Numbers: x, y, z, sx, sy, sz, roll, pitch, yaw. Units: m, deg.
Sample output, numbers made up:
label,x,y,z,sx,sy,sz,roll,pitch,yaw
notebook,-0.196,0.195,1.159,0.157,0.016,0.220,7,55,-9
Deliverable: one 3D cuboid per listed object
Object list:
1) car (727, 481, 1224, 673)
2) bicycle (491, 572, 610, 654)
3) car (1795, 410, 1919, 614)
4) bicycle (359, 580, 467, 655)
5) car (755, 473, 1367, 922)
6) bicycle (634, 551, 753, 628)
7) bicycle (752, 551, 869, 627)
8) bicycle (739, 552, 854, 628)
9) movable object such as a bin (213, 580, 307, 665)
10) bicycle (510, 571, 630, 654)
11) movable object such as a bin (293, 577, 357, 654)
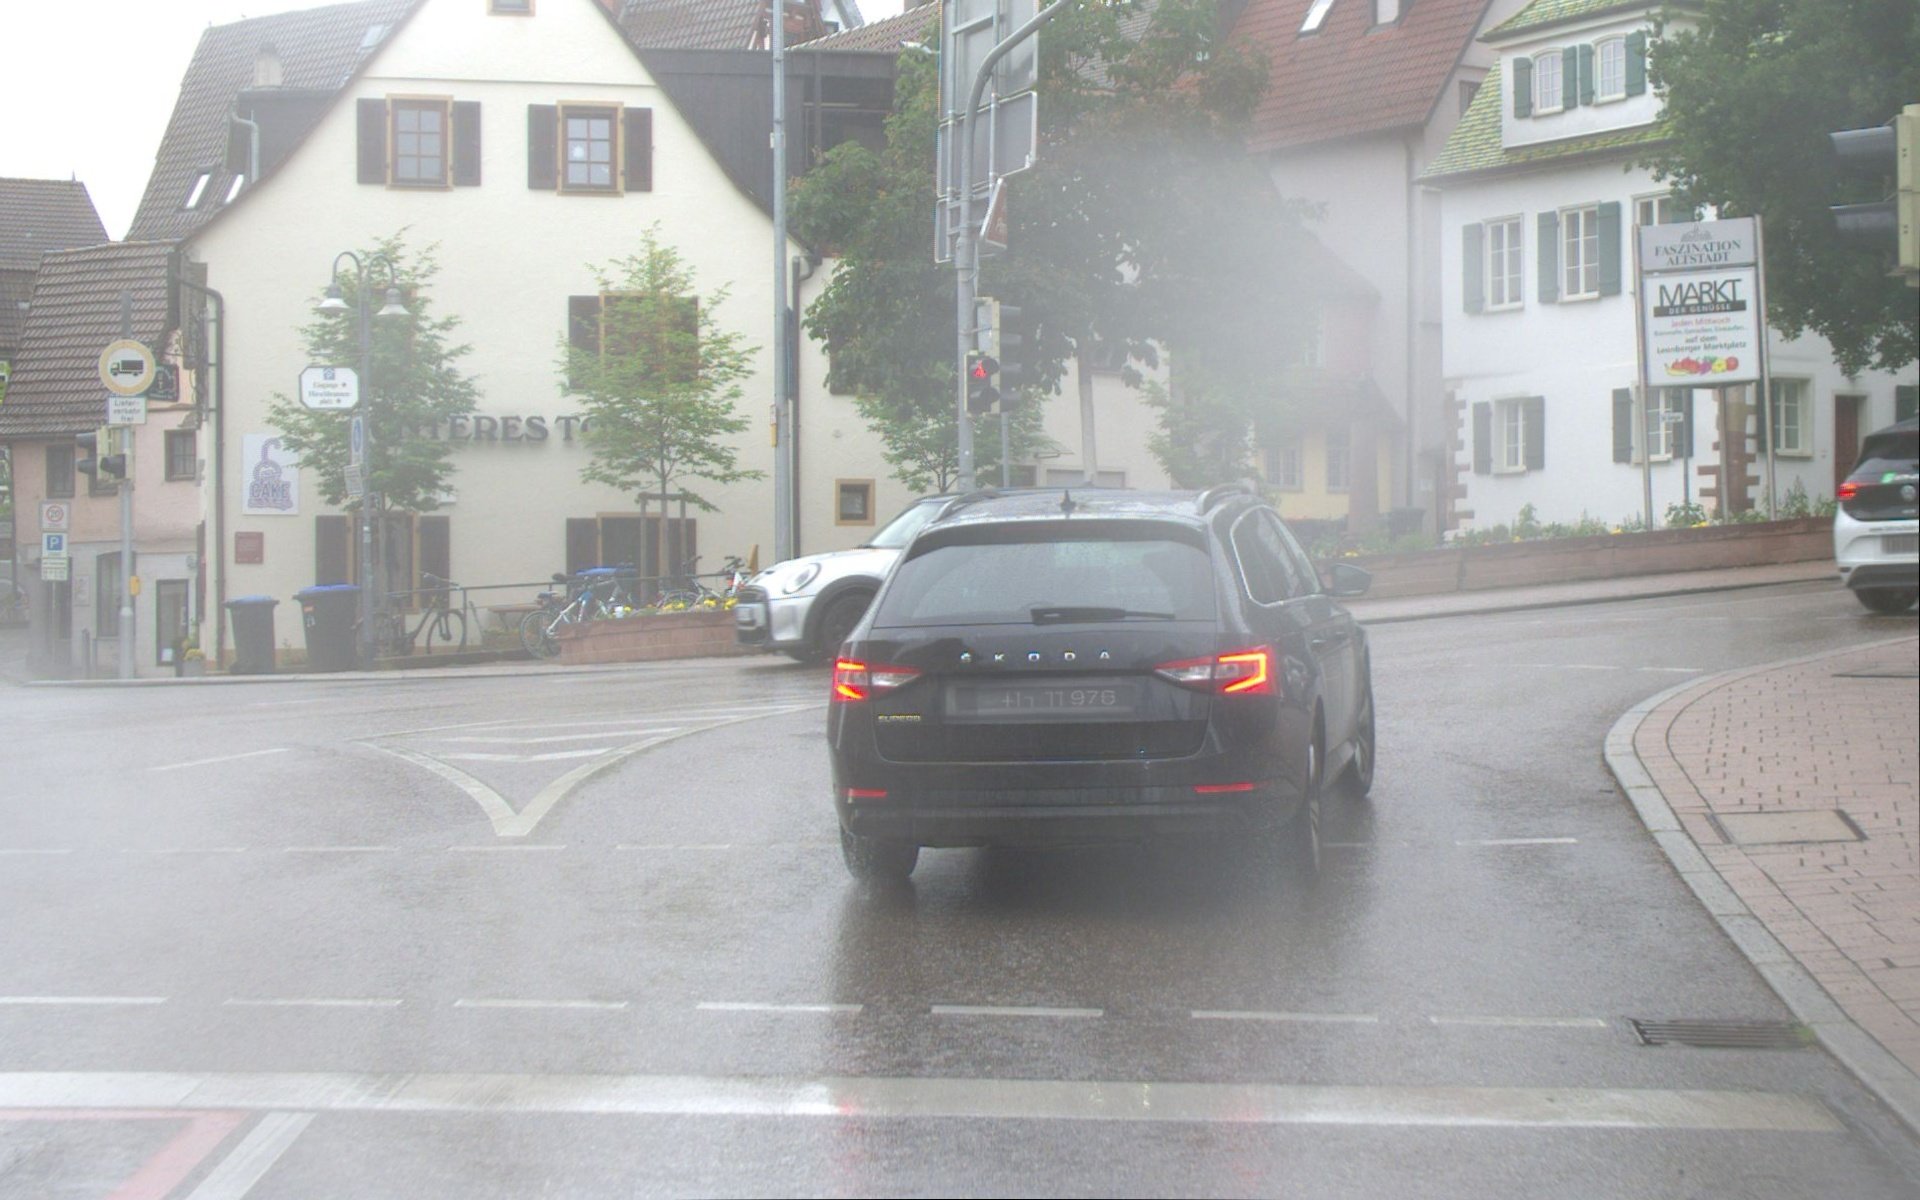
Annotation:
label,x,y,z,sx,sy,sz,roll,pitch,yaw
car,0.079,-0.230,29.279,3.986,1.426,2.001,-2,2,-6
bicycle,-4.949,0.151,41.627,1.466,0.909,0.392,-4,3,-44
car,8.379,-0.740,26.094,3.988,1.468,1.862,-4,3,-38
bicycle,-6.429,0.200,40.447,0.338,0.815,1.434,3,4,37
car,0.585,0.262,13.785,1.887,1.443,4.356,-2,2,9
bicycle,-3.316,-0.142,42.845,1.465,0.909,0.393,-2,3,-32
bicycle,-1.884,-0.142,43.373,1.465,0.909,0.393,-2,3,-32
bicycle,-2.078,-0.134,43.751,1.465,0.909,0.393,-2,3,-32
movable object such as a bin,-8.133,0.259,39.954,0.724,0.923,0.787,-1,2,23
bicycle,-4.671,0.143,41.248,1.466,0.909,0.392,-4,3,-44
movable object such as a bin,-7.656,0.182,41.445,0.586,0.898,0.584,-1,1,-31
